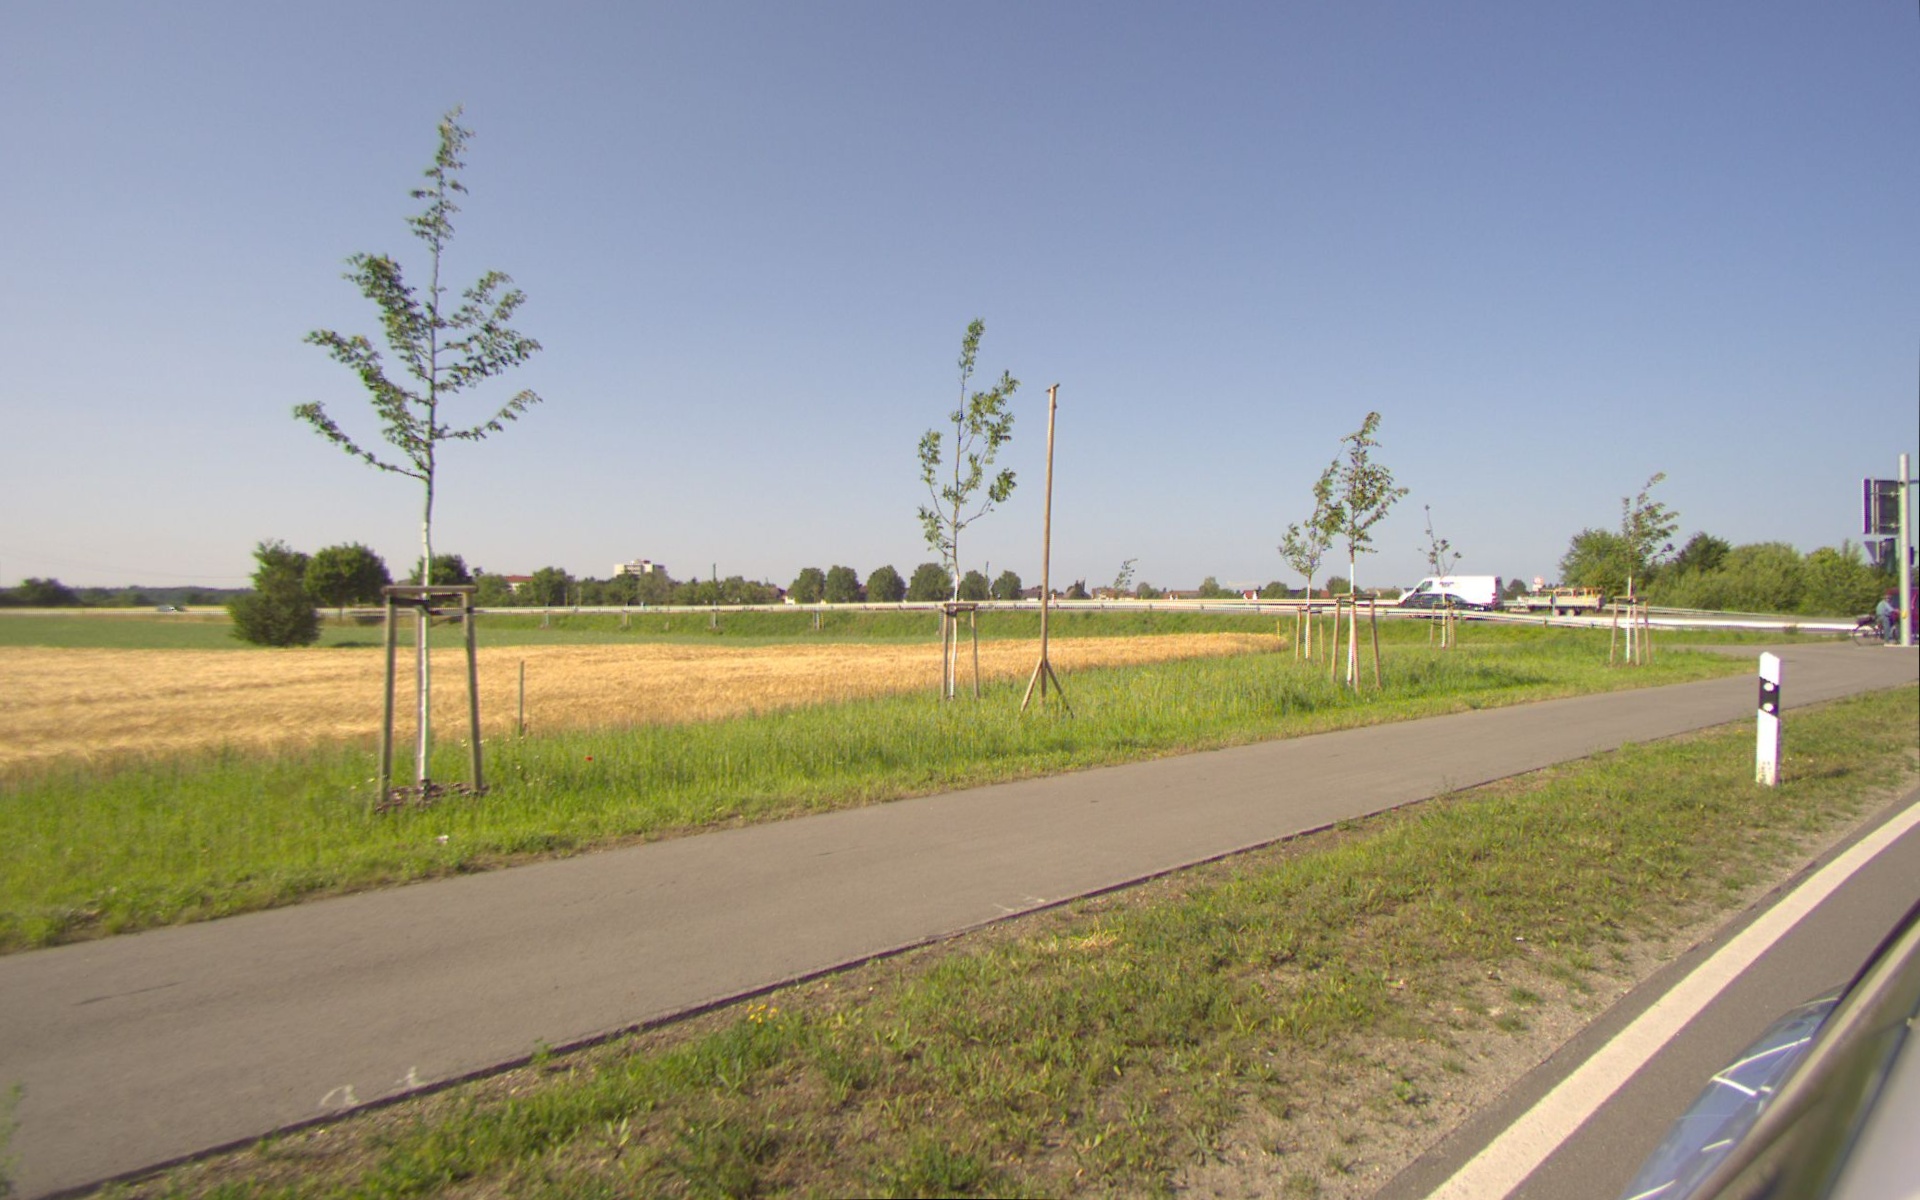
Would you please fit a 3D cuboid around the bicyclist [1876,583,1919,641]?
[{"bbox_3d":[30.466,0.383,32.774,0.904,1.787,0.617,-3,0,13],"label":"bicyclist"}]

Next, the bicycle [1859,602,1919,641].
[{"bbox_3d":[30.513,0.695,32.784,1.915,1.165,0.679,-3,0,13],"label":"bicycle"}]

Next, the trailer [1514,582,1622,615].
[{"bbox_3d":[34.476,-0.139,57.467,4.996,1.759,1.950,1,1,44],"label":"trailer"}]

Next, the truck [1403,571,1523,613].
[{"bbox_3d":[30.386,-0.506,61.295,6.176,2.435,2.039,1,1,43],"label":"truck"}]

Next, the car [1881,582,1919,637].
[{"bbox_3d":[33.786,0.323,33.742,1.660,1.860,4.701,0,0,-3],"label":"car"}]

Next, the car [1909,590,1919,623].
[{"bbox_3d":[45.887,0.348,45.271,1.729,1.510,4.716,0,1,-26],"label":"car"}]
